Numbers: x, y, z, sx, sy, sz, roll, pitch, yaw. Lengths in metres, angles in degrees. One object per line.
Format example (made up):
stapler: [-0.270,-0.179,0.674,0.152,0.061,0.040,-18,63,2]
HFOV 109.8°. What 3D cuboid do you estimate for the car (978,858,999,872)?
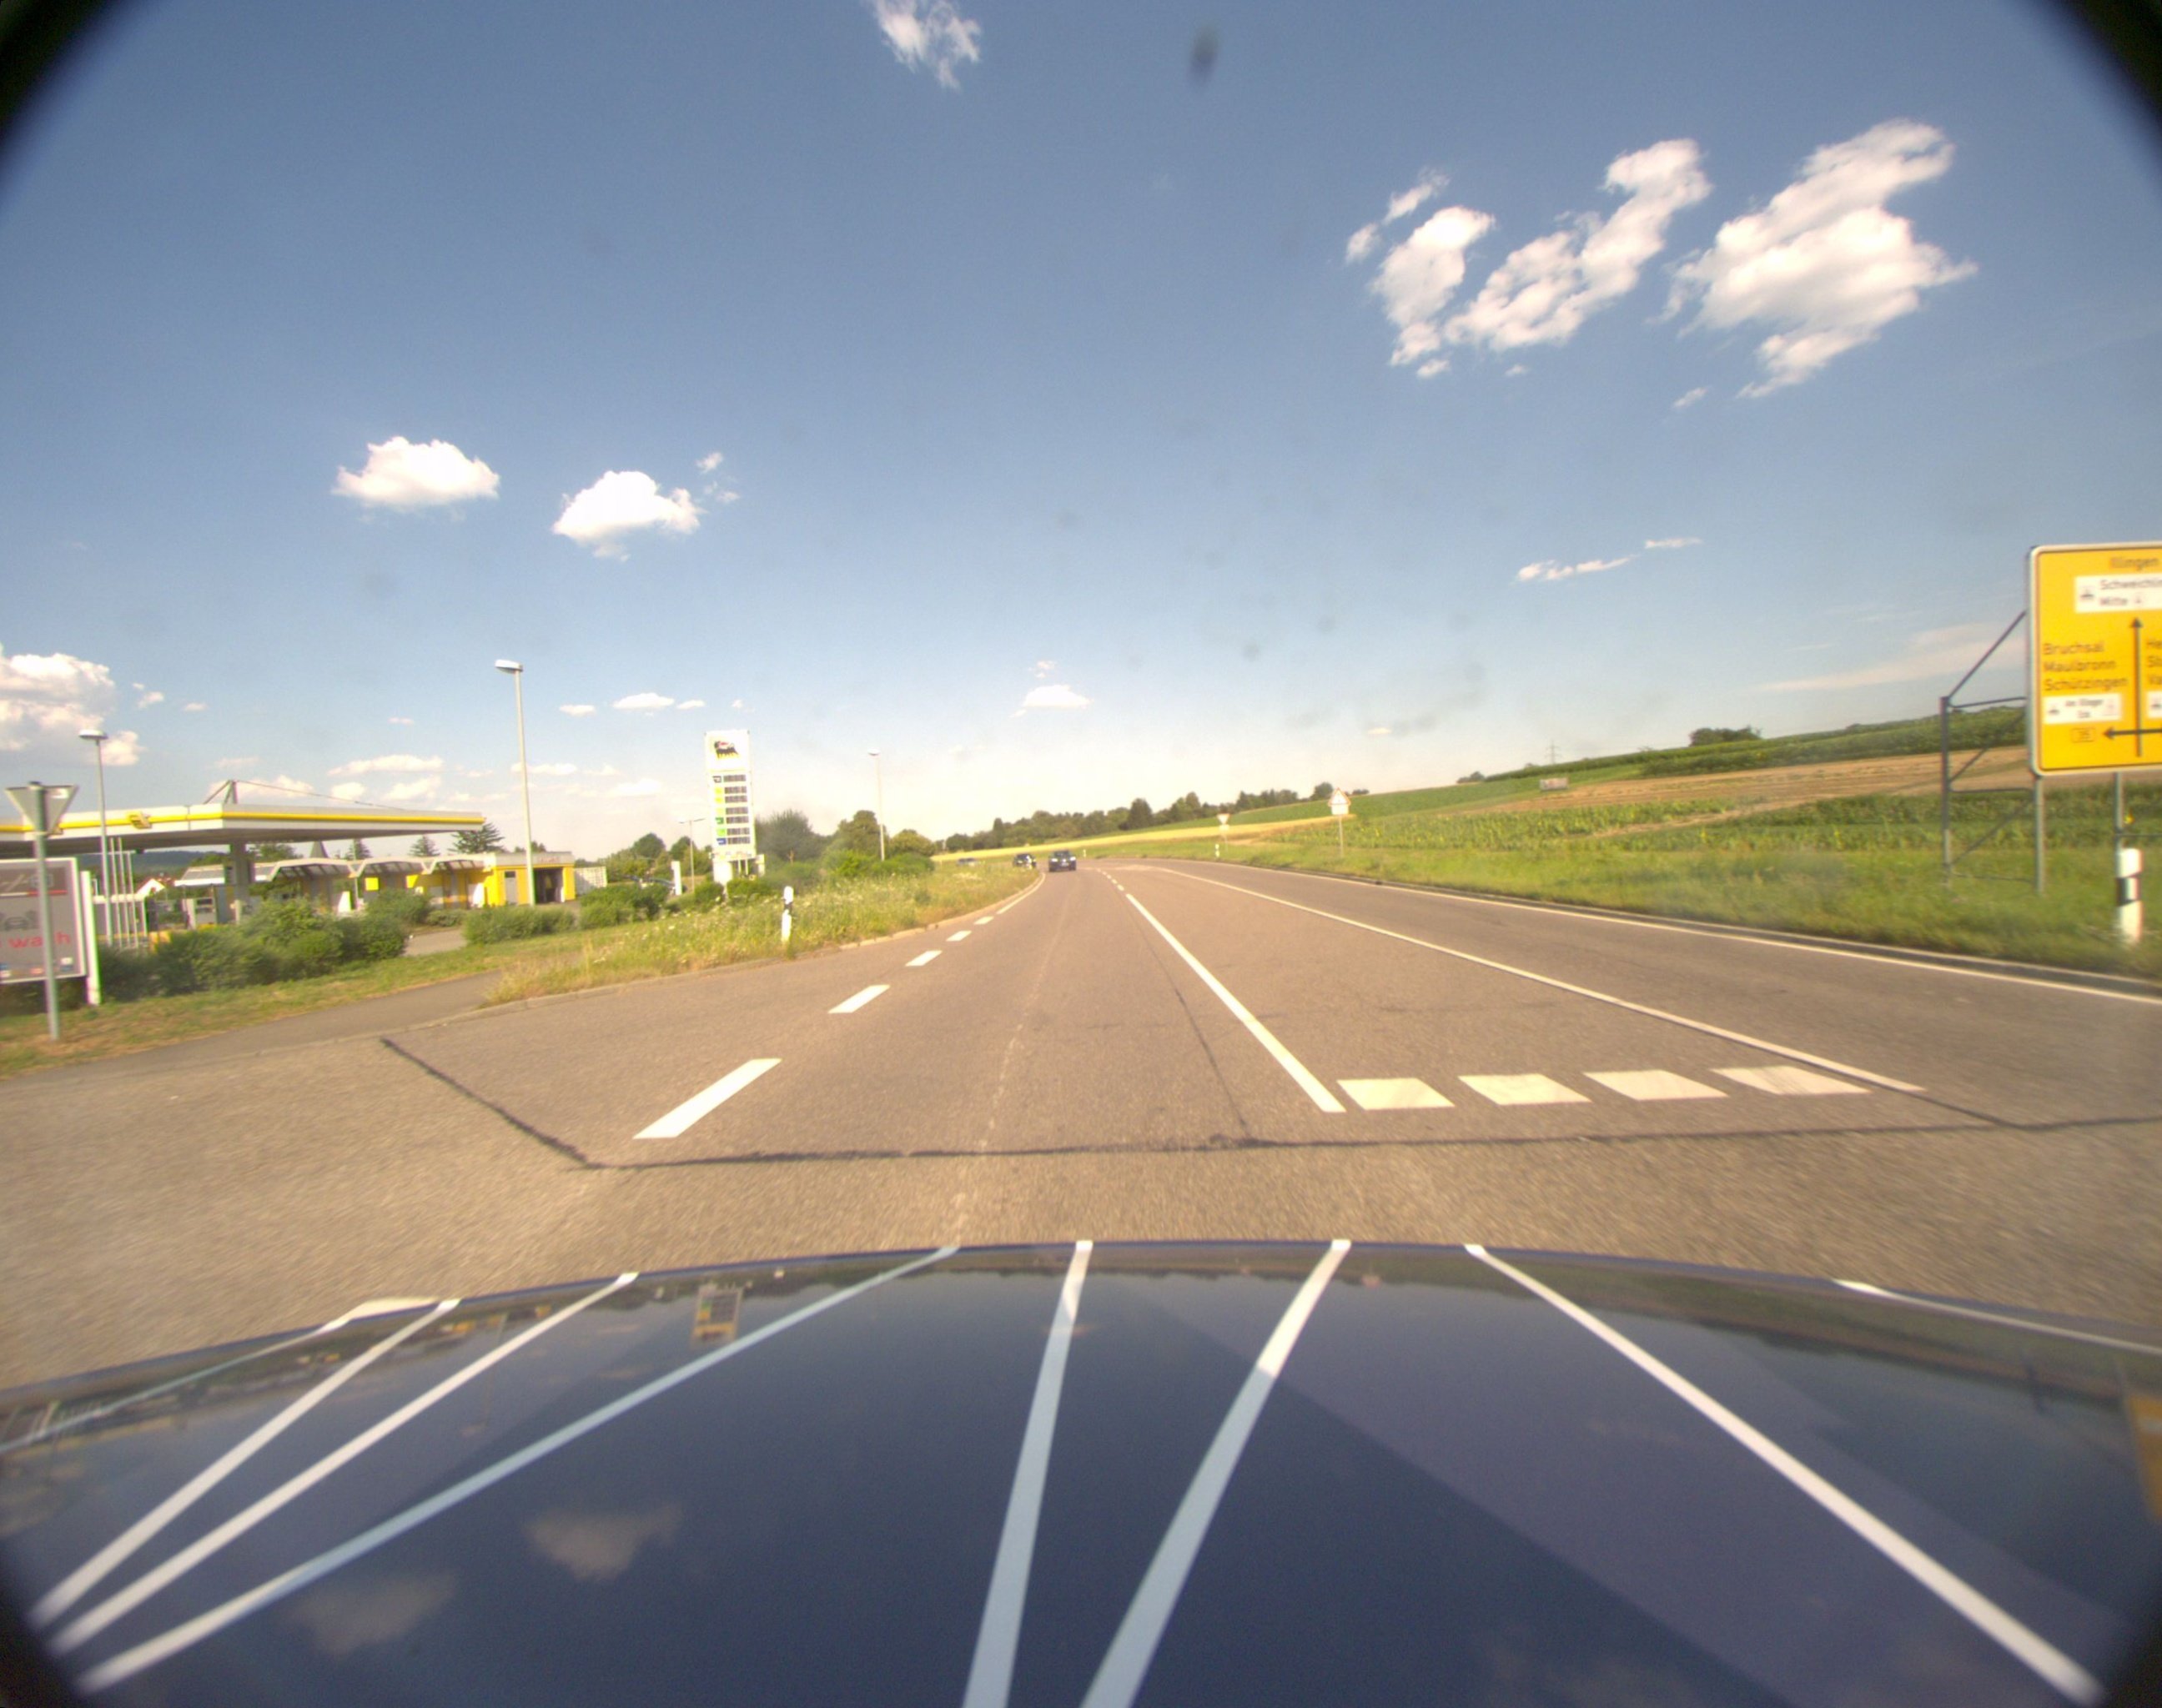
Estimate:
car: [-10.831,1.259,88.672,1.525,1.498,2.747,-6,2,-24]

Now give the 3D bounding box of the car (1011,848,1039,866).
car: [-5.727,0.285,77.466,1.777,1.604,4.541,-6,1,-17]

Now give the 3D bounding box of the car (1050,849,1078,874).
car: [-1.274,0.509,58.604,1.787,1.620,4.468,-6,1,2]

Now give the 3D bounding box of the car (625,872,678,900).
car: [-39.892,2.950,70.641,3.691,2.102,1.918,-6,2,-15]
